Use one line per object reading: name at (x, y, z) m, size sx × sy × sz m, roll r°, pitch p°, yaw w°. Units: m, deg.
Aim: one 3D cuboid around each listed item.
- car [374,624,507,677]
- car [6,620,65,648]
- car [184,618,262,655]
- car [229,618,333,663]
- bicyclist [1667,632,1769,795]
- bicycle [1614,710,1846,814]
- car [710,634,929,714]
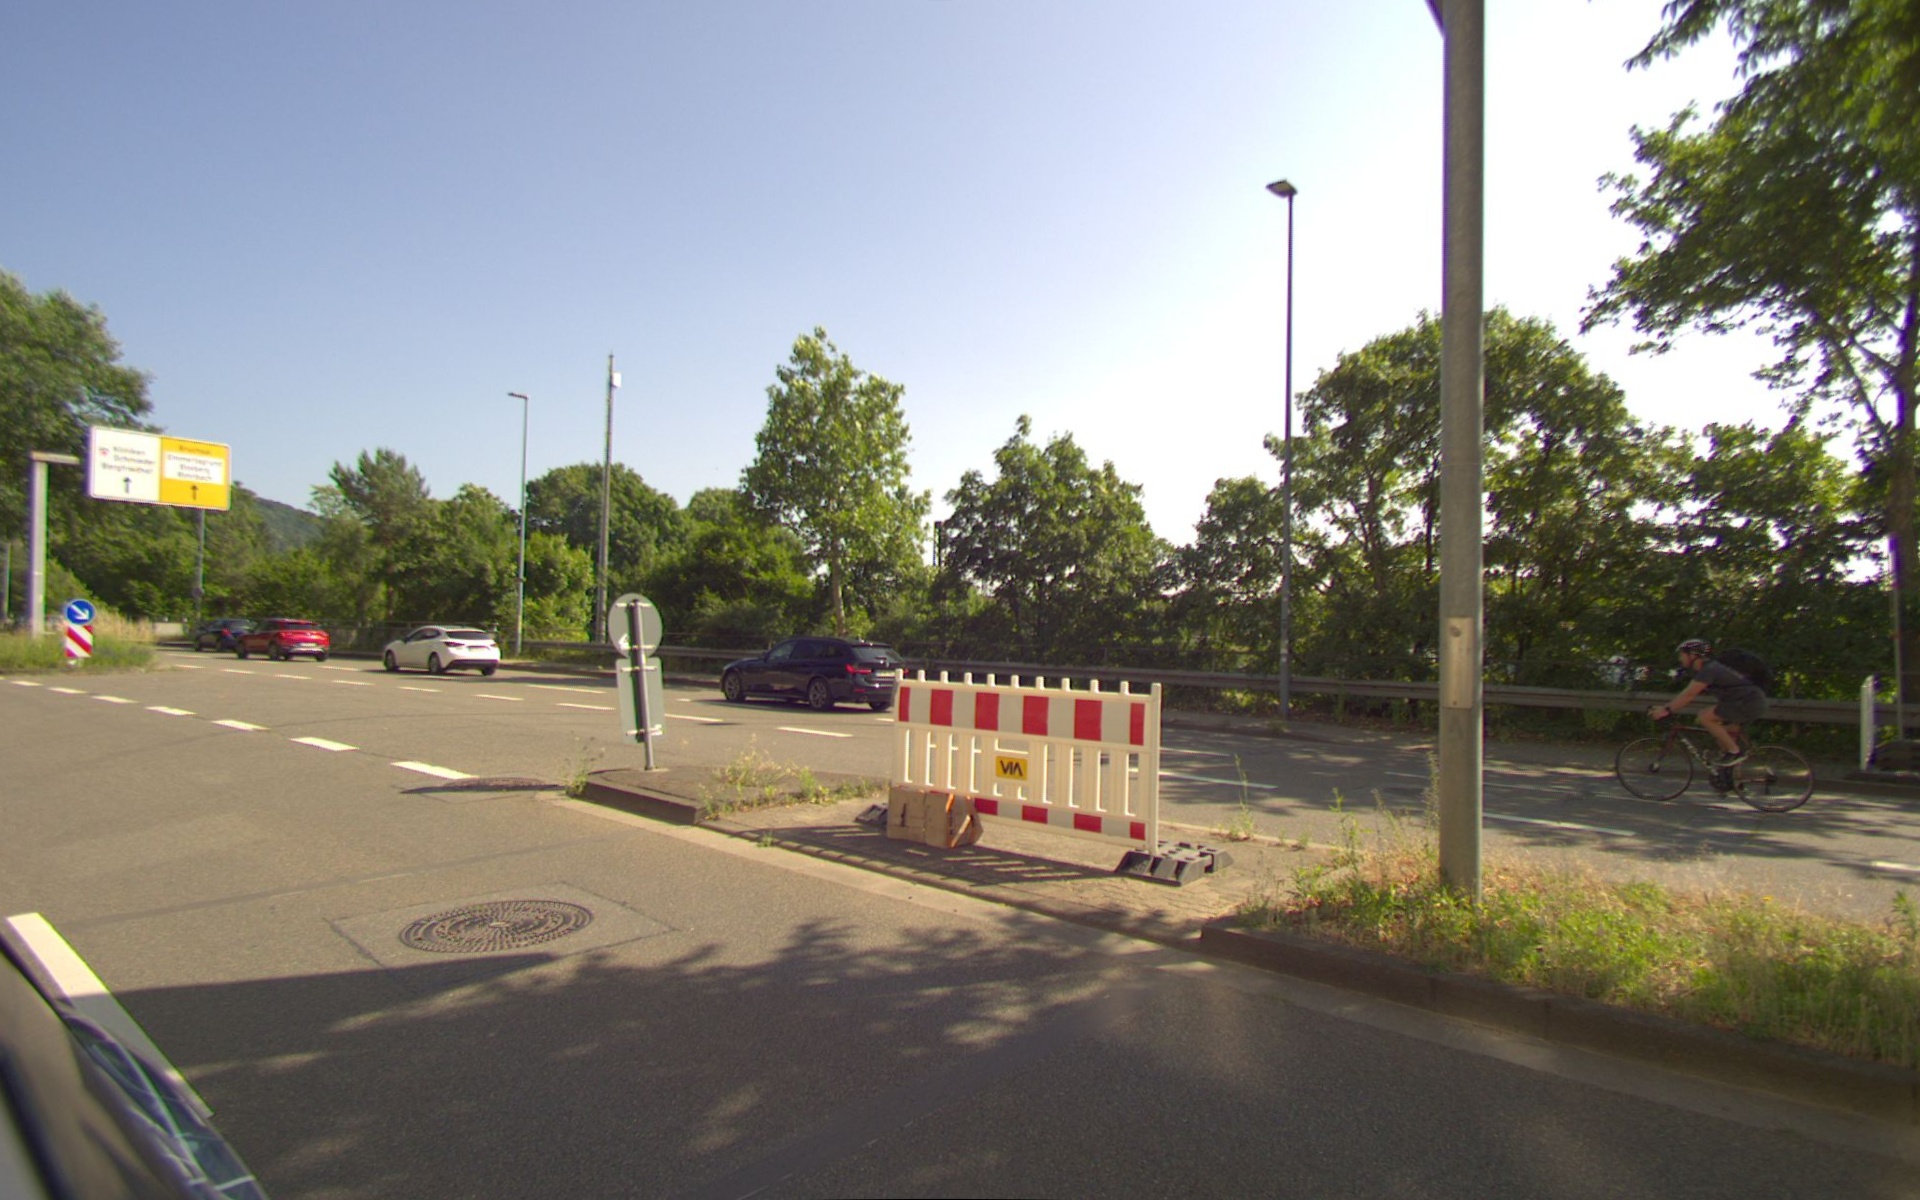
car at (-15.720, 1.505, 30.549) m, size 4.196 × 1.464 × 1.847 m, roll 0°, pitch -3°, yaw 36°
car at (-51.949, 1.902, 56.848) m, size 3.568 × 1.480 × 1.661 m, roll -1°, pitch -3°, yaw 35°
car at (-32.962, 1.633, 45.232) m, size 3.640 × 1.512 × 1.627 m, roll 0°, pitch -4°, yaw 35°
car at (-24.843, 1.475, 37.005) m, size 3.954 × 1.531 × 1.782 m, roll 0°, pitch -3°, yaw 34°
bicyclist at (7.596, 1.105, 10.174) m, size 0.777 × 1.545 × 0.568 m, roll -1°, pitch -2°, yaw 34°
bicycle at (7.628, 1.582, 10.127) m, size 1.802 × 0.839 × 0.489 m, roll -1°, pitch -2°, yaw 35°
car at (-2.993, 1.459, 20.877) m, size 4.615 × 1.422 × 1.972 m, roll -1°, pitch -4°, yaw 43°
